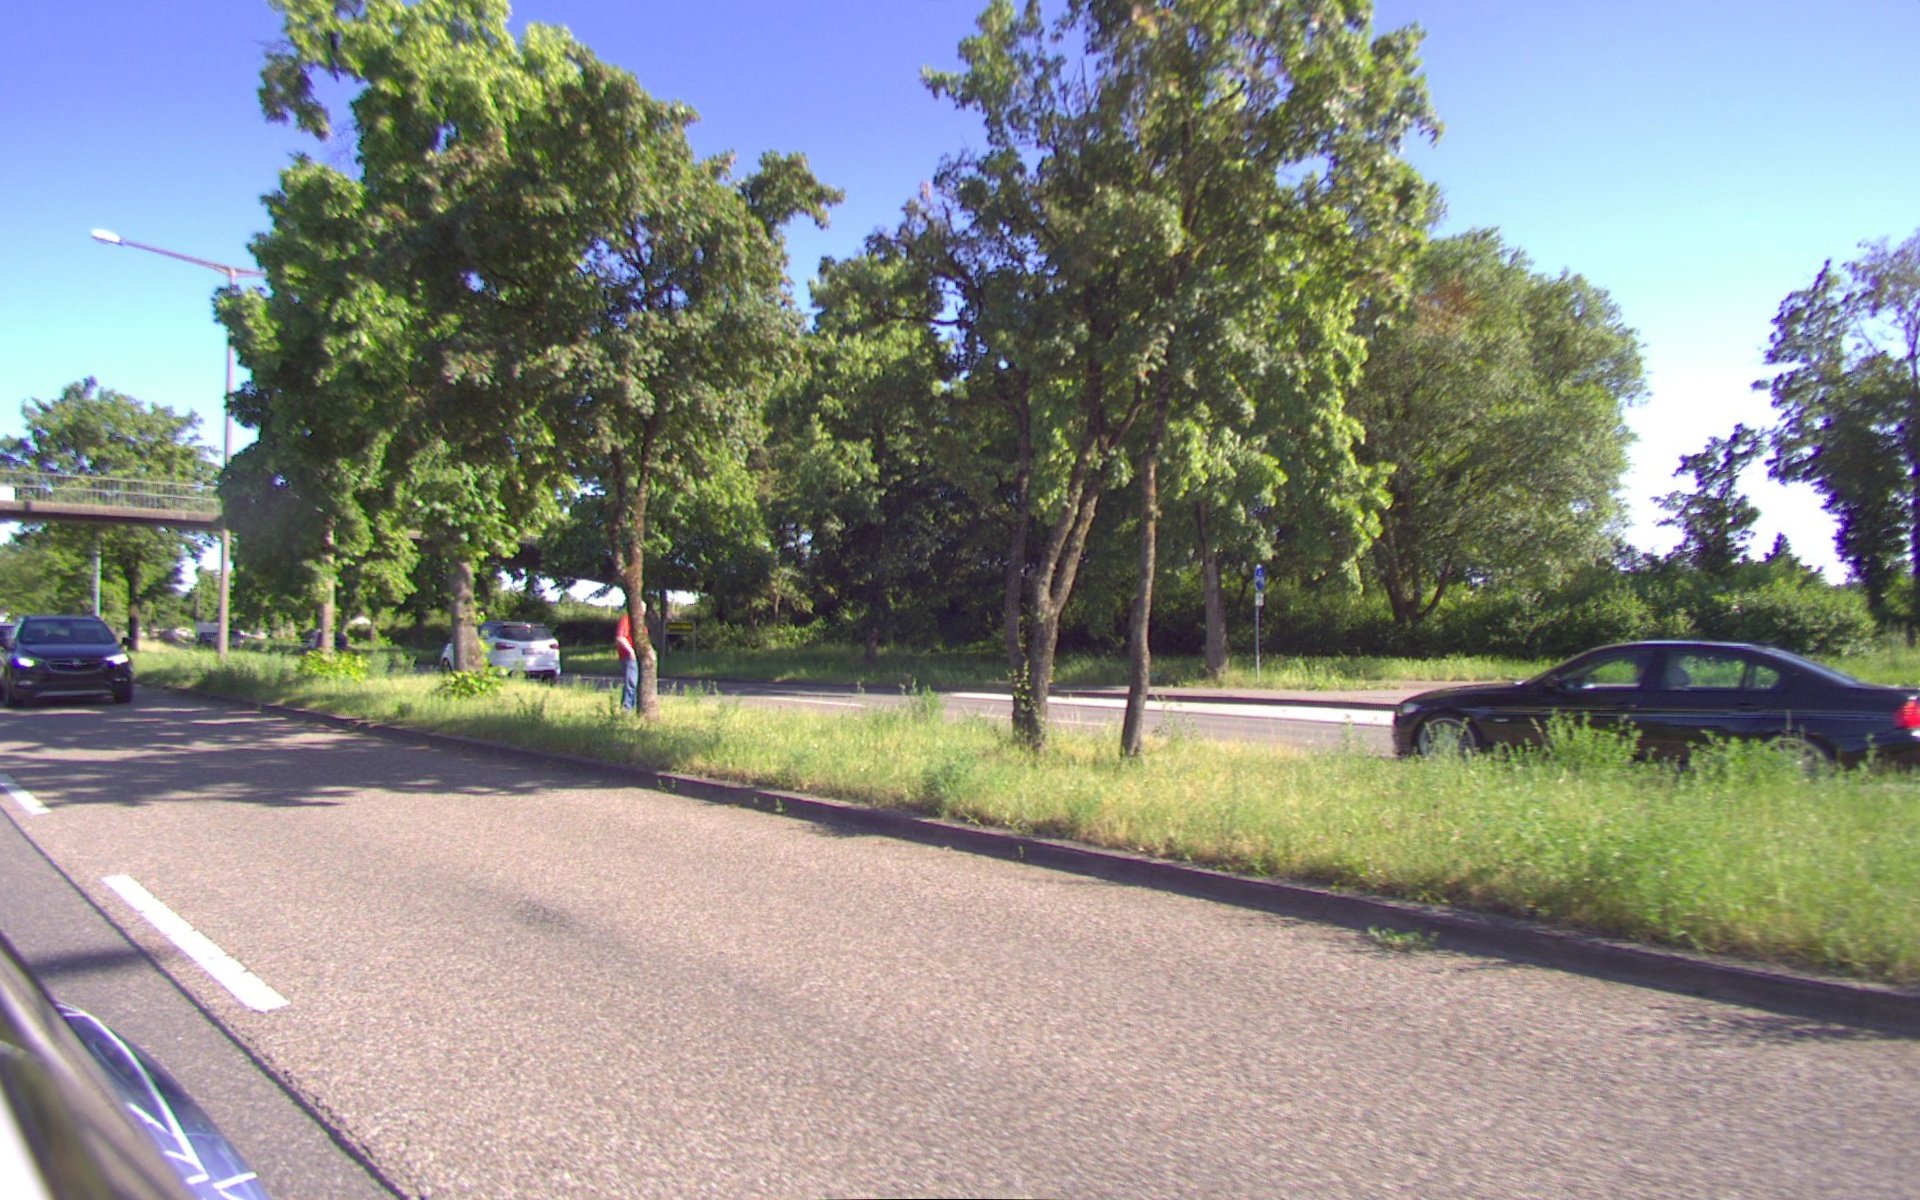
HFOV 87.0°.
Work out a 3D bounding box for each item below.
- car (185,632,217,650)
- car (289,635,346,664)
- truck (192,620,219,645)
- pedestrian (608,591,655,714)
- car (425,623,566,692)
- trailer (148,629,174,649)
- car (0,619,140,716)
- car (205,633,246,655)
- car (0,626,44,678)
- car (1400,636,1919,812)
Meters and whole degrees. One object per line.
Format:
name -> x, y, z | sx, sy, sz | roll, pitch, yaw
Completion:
car -> -69.735, 3.790, 92.938 | 1.729, 1.632, 4.581 | 2, -3, -44
car -> -33.574, 2.574, 52.824 | 4.256, 1.442, 1.523 | -2, -4, 44
truck -> -81.406, 3.523, 109.272 | 2.143, 2.532, 5.755 | 4, -4, -36
pedestrian -> -4.766, 0.747, 14.683 | 0.621, 1.709, 0.946 | 0, -2, -19
car -> -12.086, 1.455, 26.228 | 4.195, 1.644, 1.712 | -2, -3, 41
trailer -> -80.289, 3.936, 101.656 | 1.544, 1.925, 4.285 | 2, -3, -44
car -> -17.185, 1.193, 19.174 | 4.512, 1.627, 1.788 | -1, -2, 41
car -> -56.578, 3.384, 77.888 | 4.902, 1.659, 1.712 | -2, -4, 45
car -> -30.965, 1.669, 32.731 | 1.796, 1.574, 4.653 | 1, -2, -40
car -> 7.057, 1.053, 9.628 | 4.975, 1.371, 1.763 | -1, -3, 40
